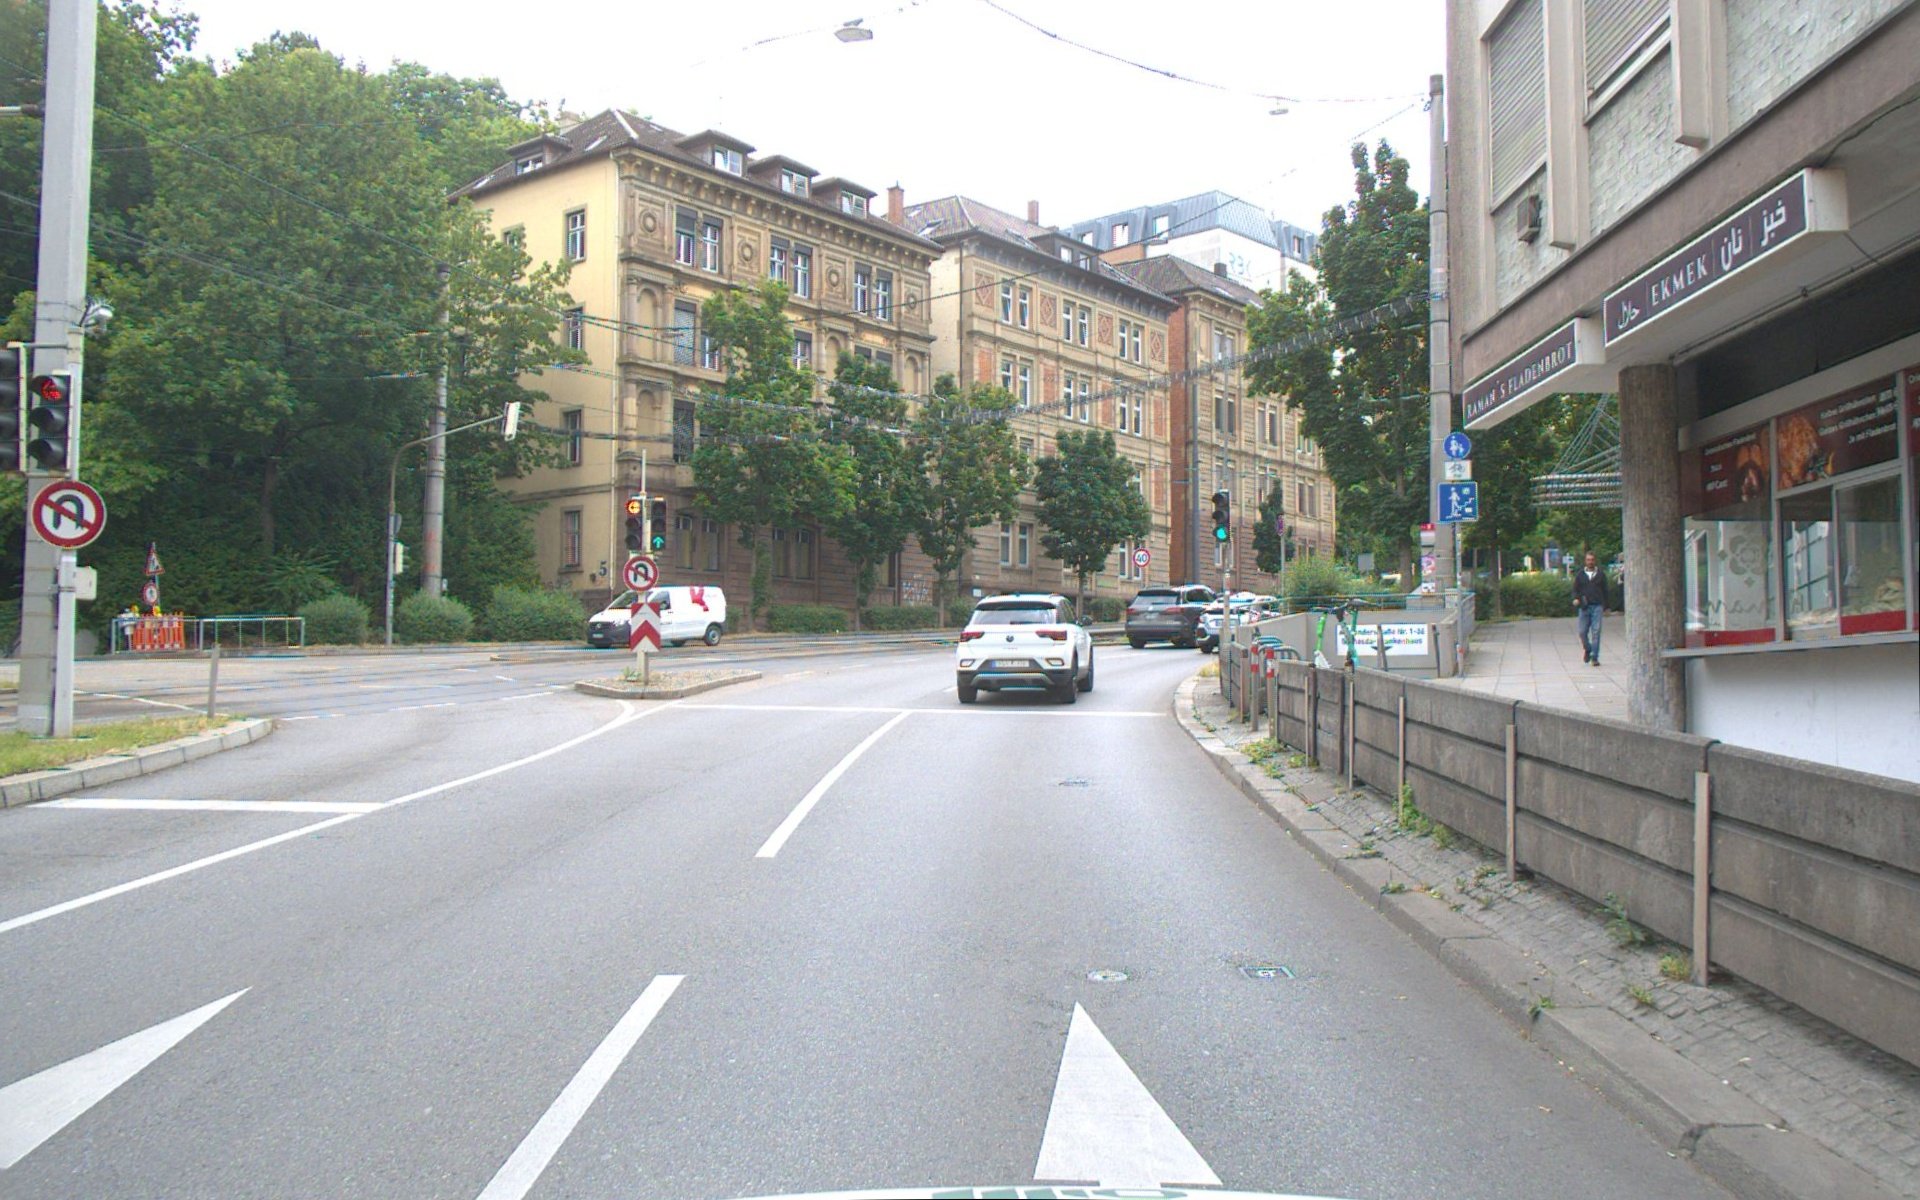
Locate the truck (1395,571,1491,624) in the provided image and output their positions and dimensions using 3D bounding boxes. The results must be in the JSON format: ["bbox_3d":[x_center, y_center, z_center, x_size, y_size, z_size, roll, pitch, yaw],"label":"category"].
[{"bbox_3d":[30.161,-0.121,103.115,2.879,2.547,7.120,15,8,38],"label":"truck"}]

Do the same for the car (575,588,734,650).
[{"bbox_3d":[-9.661,0.606,52.660,1.961,1.882,4.970,-2,-2,38],"label":"car"}]

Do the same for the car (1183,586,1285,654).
[{"bbox_3d":[7.046,0.526,42.259,1.863,1.601,3.835,1,-1,20],"label":"car"}]

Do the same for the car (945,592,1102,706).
[{"bbox_3d":[1.061,0.706,25.418,1.896,1.594,4.049,0,-1,9],"label":"car"}]

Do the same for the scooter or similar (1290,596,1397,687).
[{"bbox_3d":[5.271,0.555,22.705,1.426,1.203,0.577,0,0,-30],"label":"scooter or similar"}]

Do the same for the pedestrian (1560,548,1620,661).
[{"bbox_3d":[10.664,0.069,27.985,0.817,1.842,1.150,3,1,23],"label":"pedestrian"}]

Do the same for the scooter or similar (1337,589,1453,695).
[{"bbox_3d":[5.544,0.515,21.064,1.426,1.276,0.551,-2,0,-30],"label":"scooter or similar"}]

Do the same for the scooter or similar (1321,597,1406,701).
[{"bbox_3d":[4.785,0.572,19.586,0.997,1.203,0.373,0,0,-30],"label":"scooter or similar"}]

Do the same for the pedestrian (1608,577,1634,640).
[{"bbox_3d":[19.335,0.249,48.400,0.659,1.826,0.609,-1,0,18],"label":"pedestrian"}]

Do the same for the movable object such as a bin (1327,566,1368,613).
[{"bbox_3d":[24.850,-0.655,106.072,1.958,2.888,2.024,-2,-1,33],"label":"movable object such as a bin"}]

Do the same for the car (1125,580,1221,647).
[{"bbox_3d":[5.957,0.341,45.949,1.801,1.770,4.001,0,0,20],"label":"car"}]
